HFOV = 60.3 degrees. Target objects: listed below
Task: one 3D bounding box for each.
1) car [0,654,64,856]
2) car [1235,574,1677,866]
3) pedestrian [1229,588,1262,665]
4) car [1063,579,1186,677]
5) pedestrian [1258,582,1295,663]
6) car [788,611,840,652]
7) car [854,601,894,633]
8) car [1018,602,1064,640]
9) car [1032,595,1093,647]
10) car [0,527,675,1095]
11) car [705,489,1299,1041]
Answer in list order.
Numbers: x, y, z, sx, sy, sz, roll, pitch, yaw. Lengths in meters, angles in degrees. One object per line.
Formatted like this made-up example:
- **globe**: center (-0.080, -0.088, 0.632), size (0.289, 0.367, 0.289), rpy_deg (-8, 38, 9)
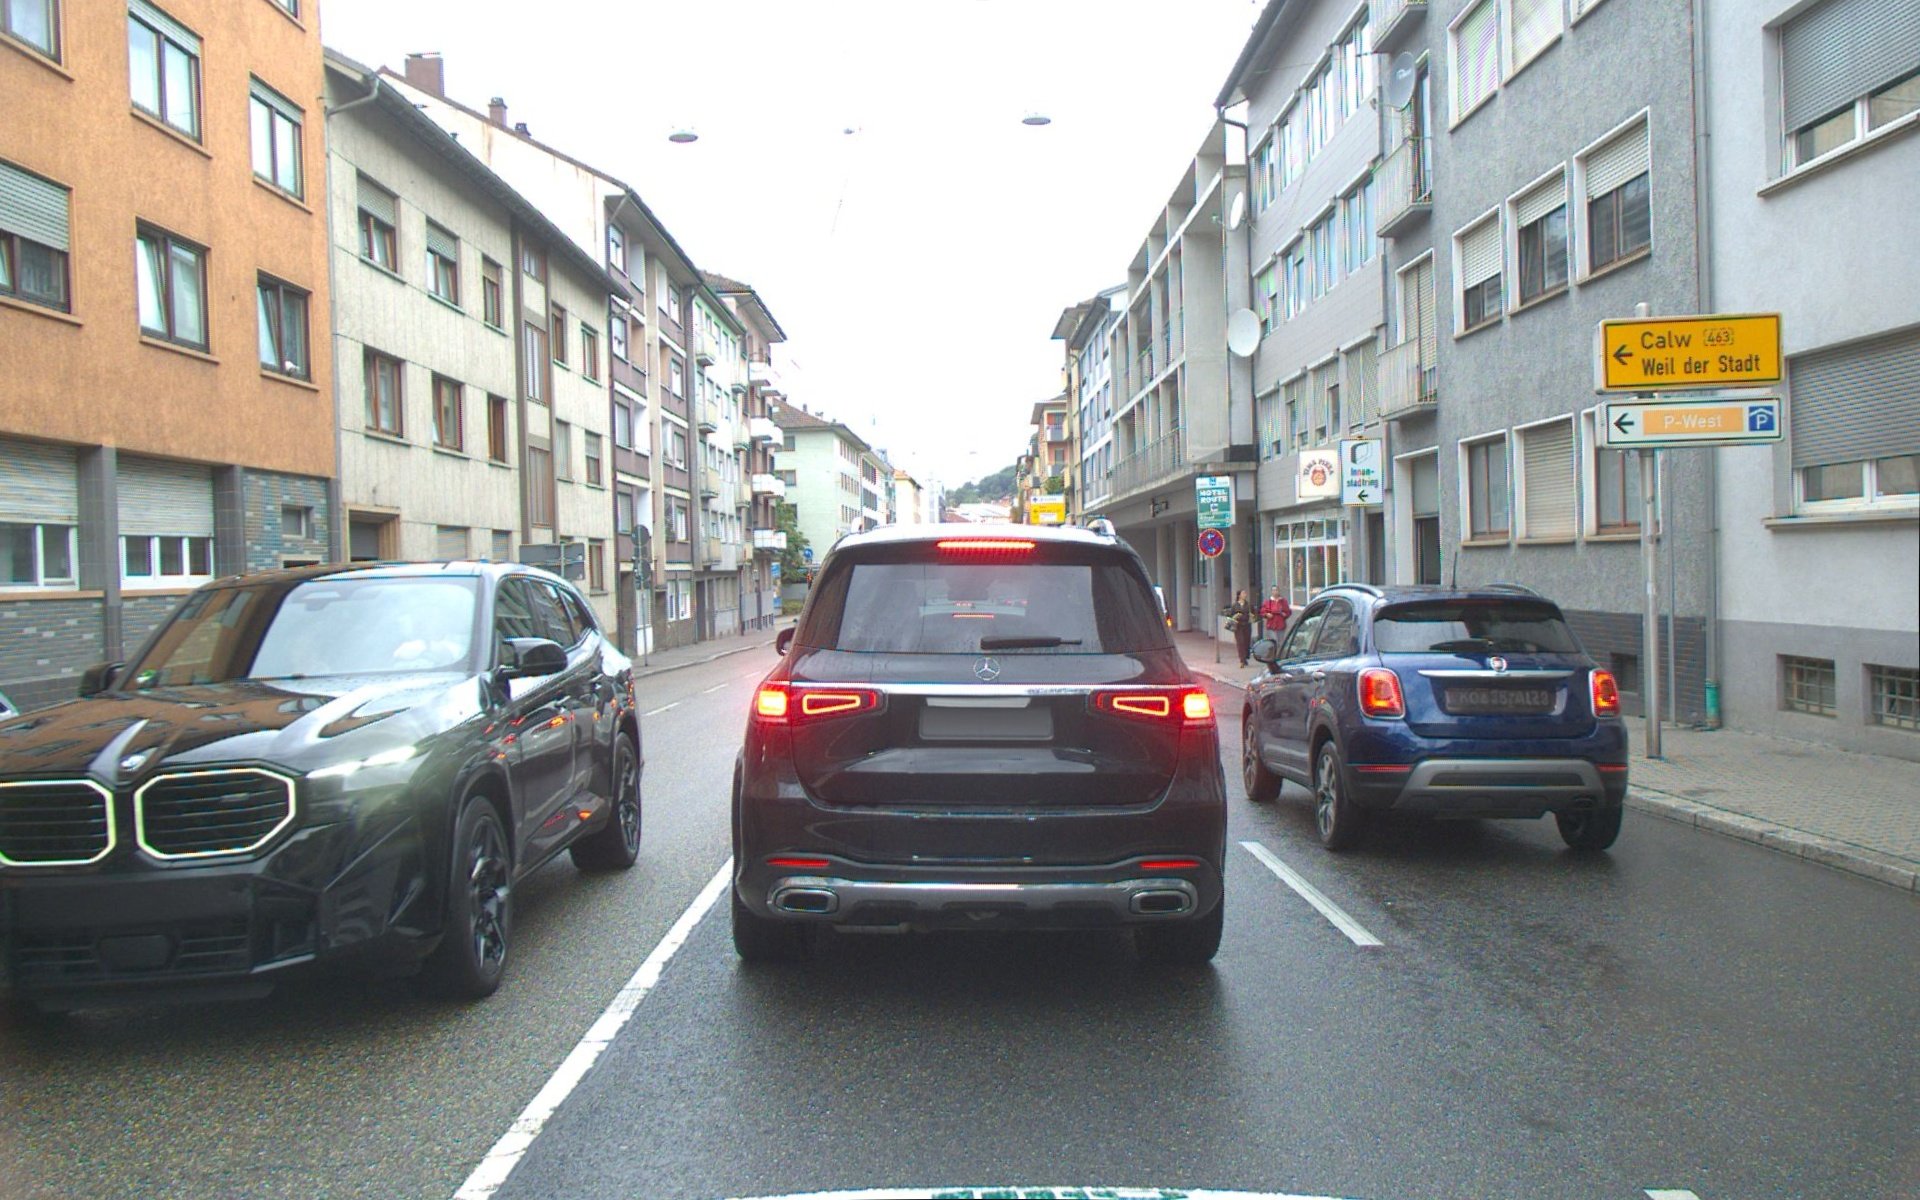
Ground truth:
- **car**: center (-7.963, 1.159, 10.856), size (1.759, 1.463, 4.525), rpy_deg (1, 0, -1)
- **car**: center (3.092, 0.663, 11.194), size (1.731, 1.608, 3.999), rpy_deg (0, 0, -1)
- **pedestrian**: center (5.795, 0.533, 33.589), size (0.496, 1.526, 0.562), rpy_deg (-4, 0, 4)
- **car**: center (3.203, 0.520, 33.108), size (1.901, 1.806, 4.745), rpy_deg (0, 0, -1)
- **pedestrian**: center (6.430, 0.456, 33.603), size (0.548, 1.606, 0.526), rpy_deg (-4, 0, 0)
- **car**: center (-5.686, 1.194, 64.783), size (1.732, 1.369, 3.887), rpy_deg (-5, 0, -2)
- **car**: center (-4.168, 0.789, 80.483), size (1.690, 1.414, 4.338), rpy_deg (-3, 0, -1)
- **car**: center (3.313, 0.846, 68.352), size (1.588, 1.455, 4.311), rpy_deg (1, 0, -1)
- **car**: center (3.295, 0.657, 53.802), size (1.771, 1.634, 4.212), rpy_deg (0, 0, 1)
- **car**: center (-2.786, 0.692, 7.758), size (2.083, 1.750, 4.816), rpy_deg (-3, 0, -1)
- **car**: center (0.102, 0.559, 7.603), size (1.984, 1.837, 3.999), rpy_deg (1, 0, -1)
